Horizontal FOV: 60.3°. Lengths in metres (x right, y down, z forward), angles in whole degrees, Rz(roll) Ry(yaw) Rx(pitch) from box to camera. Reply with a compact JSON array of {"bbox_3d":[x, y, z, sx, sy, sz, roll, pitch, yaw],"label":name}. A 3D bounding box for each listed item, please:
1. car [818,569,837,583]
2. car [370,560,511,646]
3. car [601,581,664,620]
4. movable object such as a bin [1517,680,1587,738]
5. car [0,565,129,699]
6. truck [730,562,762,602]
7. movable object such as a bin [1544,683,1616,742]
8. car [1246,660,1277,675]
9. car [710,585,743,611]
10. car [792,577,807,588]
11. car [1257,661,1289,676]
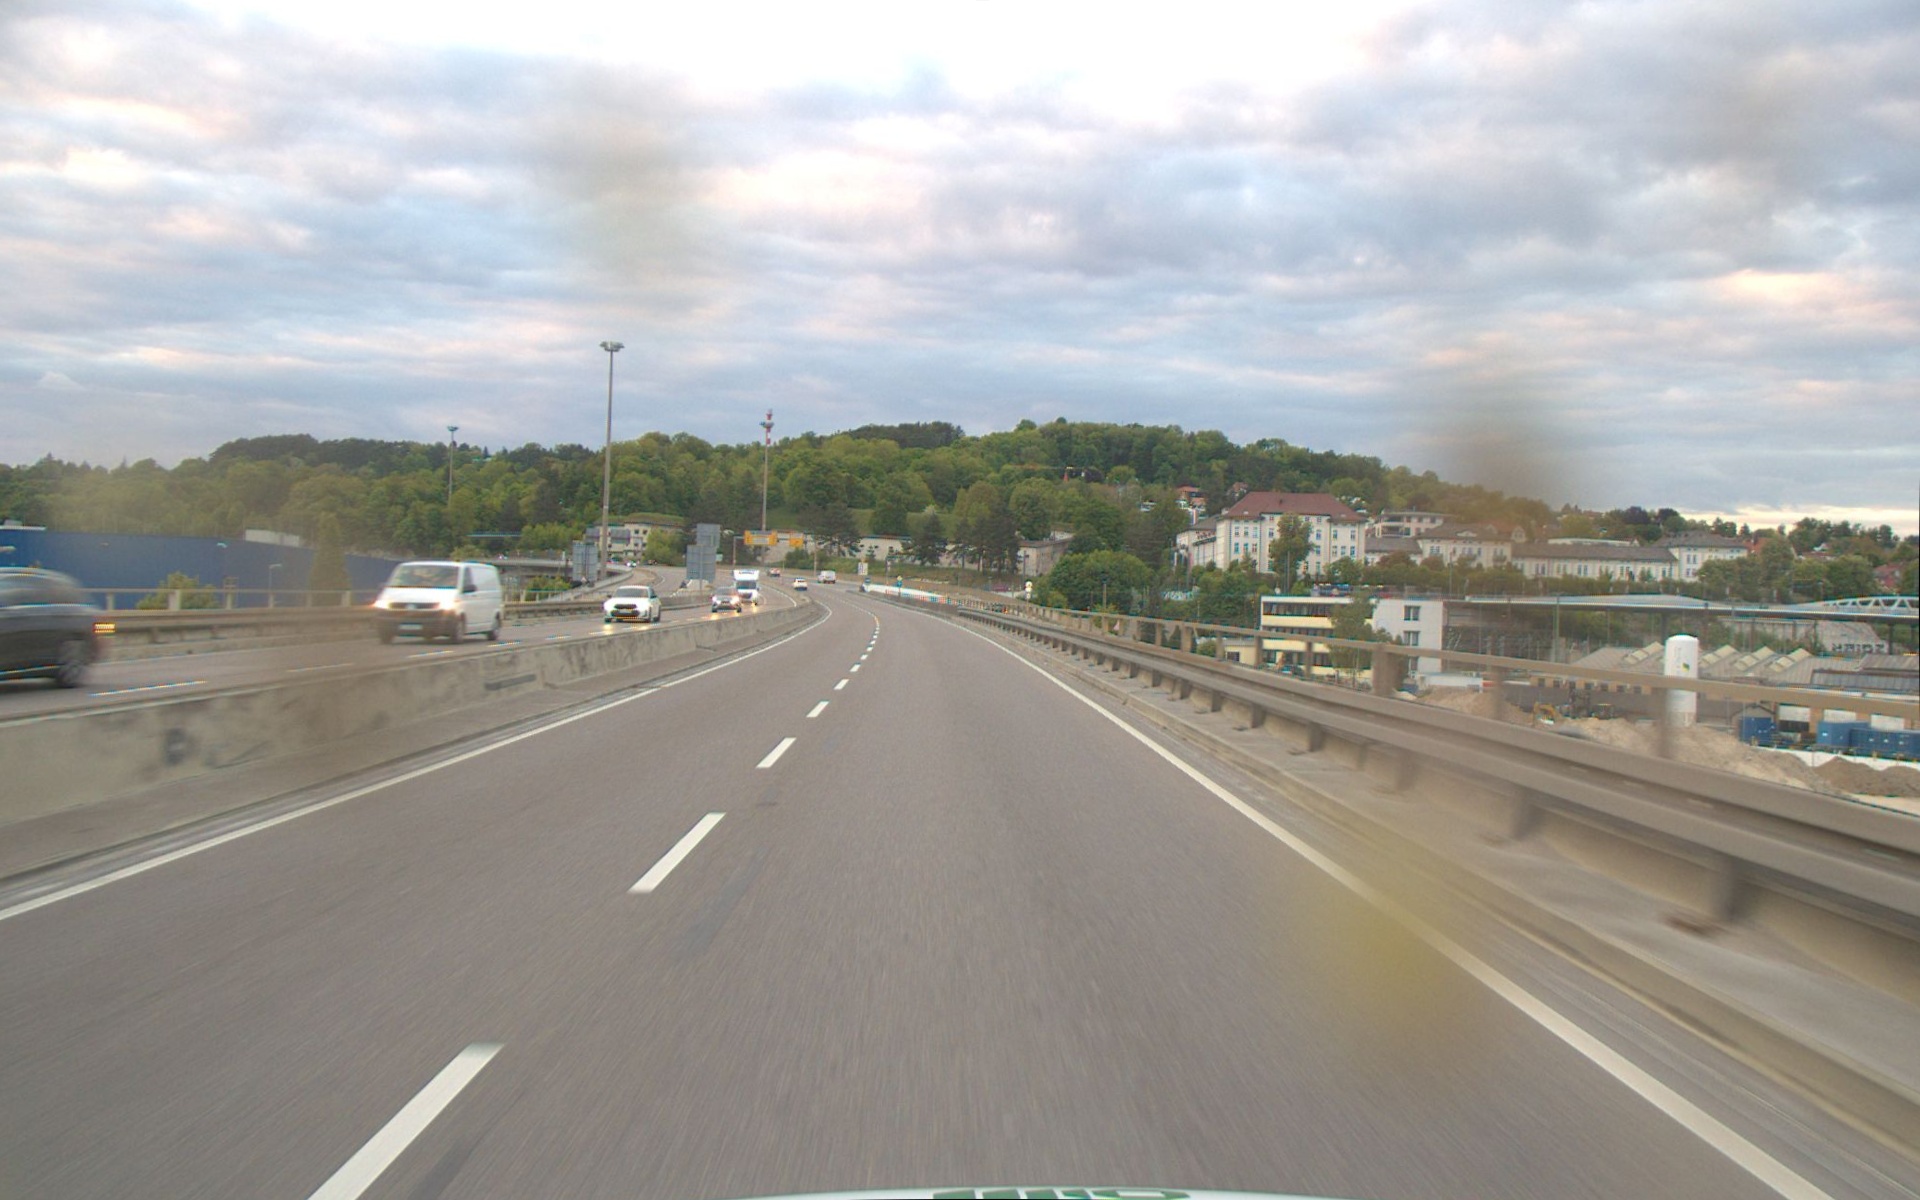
[{"bbox_3d":[-20.757,-3.772,258.872,1.962,2.048,4.089,1,2,-18],"label":"car"},{"bbox_3d":[-12.516,0.057,40.242,1.863,1.934,5.457,1,0,-2],"label":"car"},{"bbox_3d":[-13.263,0.026,67.258,1.794,1.529,4.814,0,0,-3],"label":"car"},{"bbox_3d":[52.917,9.757,147.900,4.868,4.382,2.770,8,-1,-19],"label":"movable object such as a bin"},{"bbox_3d":[-11.804,0.346,19.412,1.792,1.500,4.899,1,1,-3],"label":"car"},{"bbox_3d":[-18.660,-1.521,144.697,2.486,3.354,7.437,1,0,-6],"label":"truck"},{"bbox_3d":[54.027,9.777,144.136,4.868,4.382,2.770,8,-1,-19],"label":"movable object such as a bin"},{"bbox_3d":[40.108,8.960,220.200,3.959,1.592,1.808,5,2,-39],"label":"car"},{"bbox_3d":[-13.866,-0.128,98.305,1.596,1.466,3.833,1,1,-4],"label":"car"},{"bbox_3d":[-21.917,-2.392,225.290,1.602,1.412,3.989,0,2,-11],"label":"car"},{"bbox_3d":[41.084,8.977,217.079,3.959,1.592,1.808,5,2,-39],"label":"car"}]
